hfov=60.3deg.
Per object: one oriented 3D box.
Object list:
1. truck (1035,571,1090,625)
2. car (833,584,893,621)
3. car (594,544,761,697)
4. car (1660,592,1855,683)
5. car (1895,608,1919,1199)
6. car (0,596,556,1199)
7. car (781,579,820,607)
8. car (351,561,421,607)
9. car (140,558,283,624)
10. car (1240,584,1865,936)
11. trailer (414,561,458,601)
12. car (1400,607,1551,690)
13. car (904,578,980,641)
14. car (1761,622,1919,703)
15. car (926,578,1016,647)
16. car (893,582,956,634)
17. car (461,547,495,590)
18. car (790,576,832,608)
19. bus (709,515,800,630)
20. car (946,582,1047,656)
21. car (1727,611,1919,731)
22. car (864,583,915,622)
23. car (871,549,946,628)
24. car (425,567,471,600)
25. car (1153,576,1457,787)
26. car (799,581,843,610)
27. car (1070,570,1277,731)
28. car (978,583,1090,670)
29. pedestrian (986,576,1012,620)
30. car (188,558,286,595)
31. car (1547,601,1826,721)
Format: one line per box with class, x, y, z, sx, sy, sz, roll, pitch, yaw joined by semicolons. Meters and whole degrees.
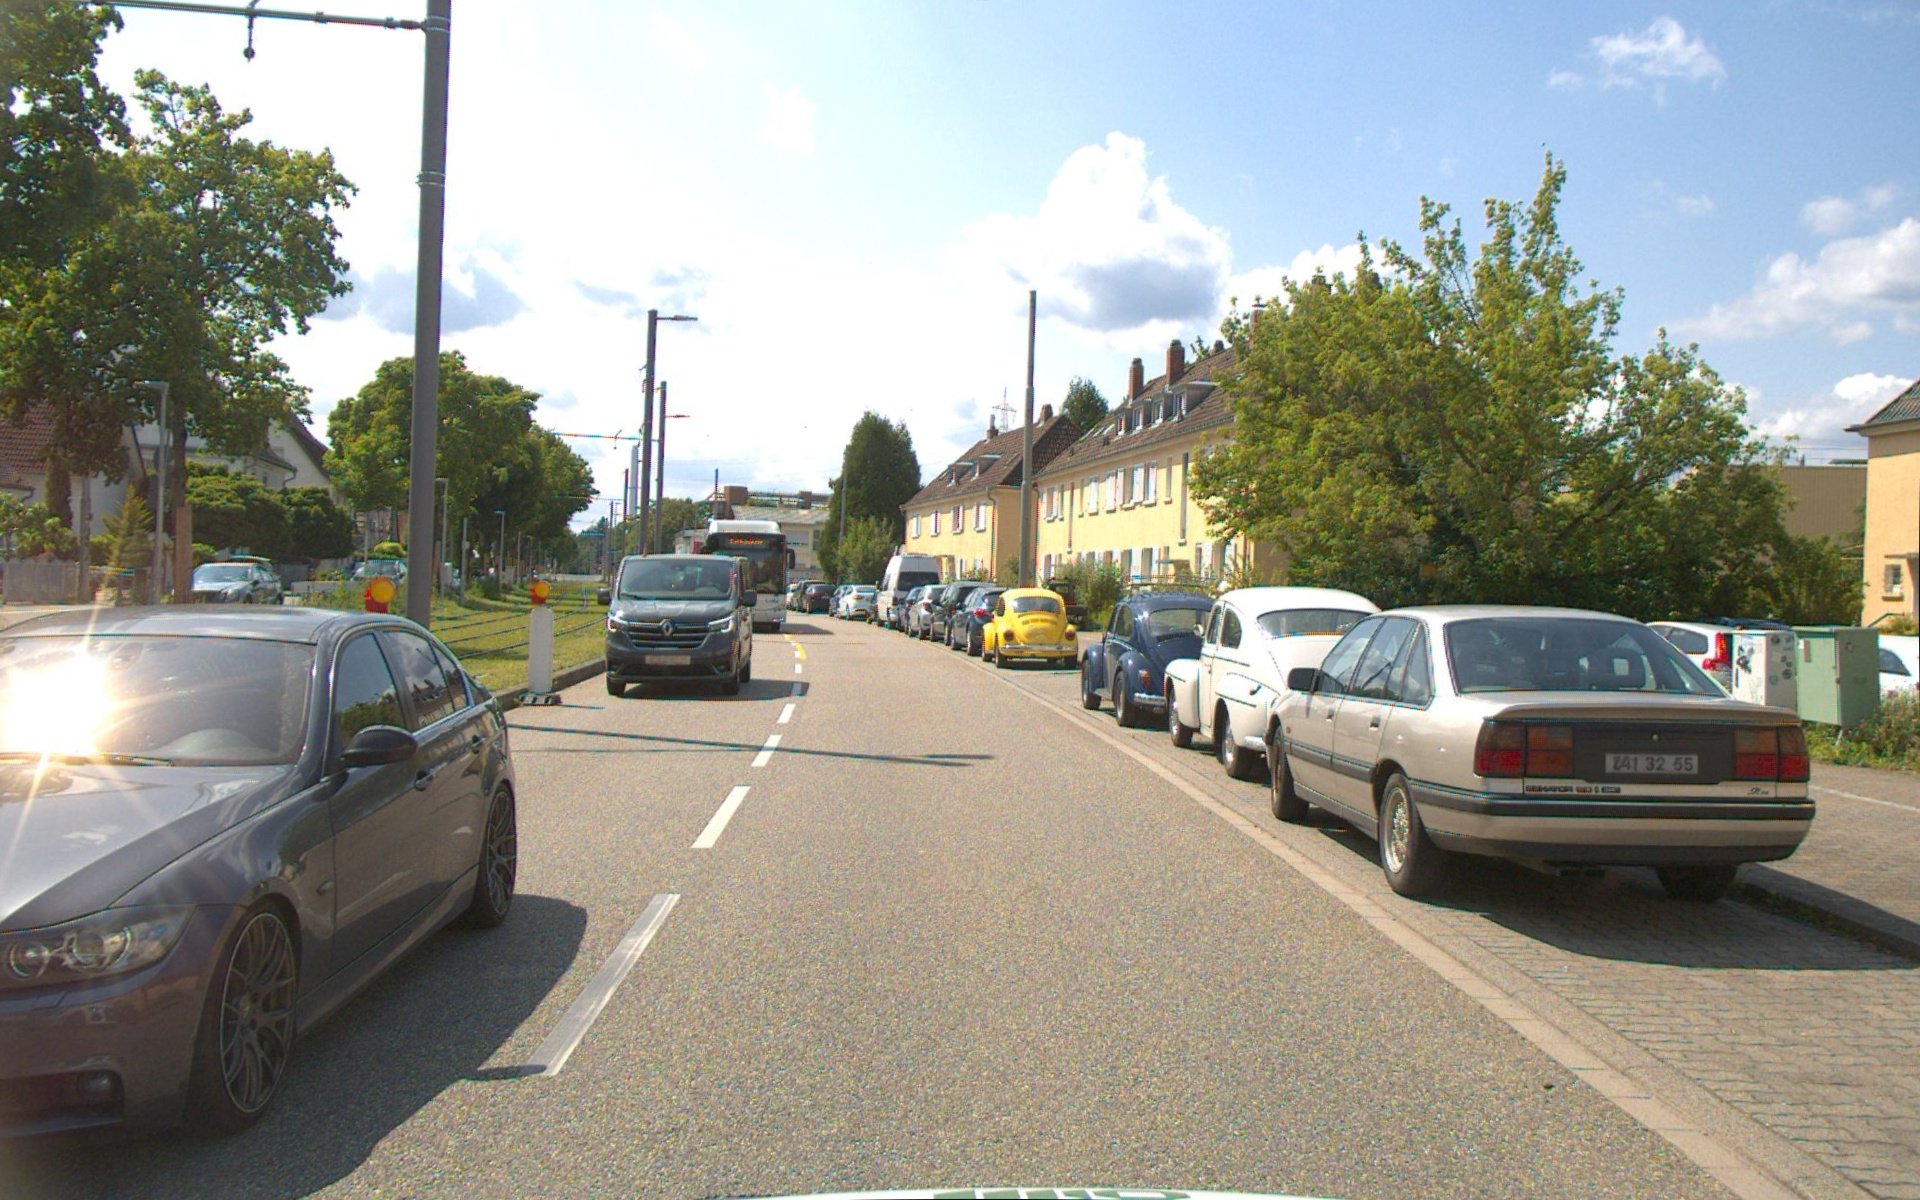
truck;3.402;-0.074;55.228;1.321;1.718;2.436;2;0;-8
car;-4.113;0.087;69.370;1.768;1.483;4.749;0;0;-13
car;-4.092;0.250;24.741;1.917;2.000;5.288;1;1;-4
car;15.313;0.662;32.011;1.604;1.574;4.085;-1;1;-4
car;3.231;0.804;1.958;1.546;1.474;4.451;2;0;-3
car;-2.717;0.729;5.783;1.690;1.413;4.120;2;0;-2
car;-9.037;-0.399;93.288;1.733;1.502;3.988;0;1;-12
car;-20.833;-0.596;60.180;1.779;1.614;4.555;0;1;-11
car;-18.108;-0.226;40.232;1.785;1.430;4.805;2;0;-7
car;2.979;0.675;9.570;1.672;1.474;4.833;2;0;-3
trailer;-23.748;-0.859;75.024;1.538;1.707;3.362;2;0;-12
car;9.697;0.863;31.400;1.602;1.379;4.088;2;0;1
car;-0.545;0.228;46.857;1.605;1.630;4.022;2;0;-8
car;17.852;1.212;32.912;1.604;1.425;4.085;2;0;-4
car;0.237;0.281;42.855;1.606;1.630;3.923;2;0;-10
car;-1.146;0.224;51.553;1.507;1.470;3.731;2;0;-8
car;-31.934;-2.096;109.621;2.040;2.768;6.971;0;1;-16
car;-8.005;-0.427;88.497;1.733;1.672;3.988;0;1;-12
bus;-7.112;-0.911;56.066;2.588;3.472;12.222;0;1;-9
car;0.765;0.383;37.449;1.605;1.508;4.117;2;0;-8
car;12.377;0.910;22.495;1.605;1.398;4.082;2;0;-7
car;-2.650;0.096;61.677;1.318;1.364;3.277;2;0;-13
car;-1.824;-0.404;56.864;1.894;2.524;5.506;1;0;-9
car;-24.990;-0.812;80.799;1.698;1.531;4.555;0;1;-11
car;2.860;0.594;14.665;1.546;1.539;4.457;2;0;-3
car;-7.025;-0.239;83.429;1.733;1.442;3.988;0;1;-12
car;2.424;0.519;19.786;1.519;1.669;4.242;2;0;-5
car;1.366;0.461;31.979;1.604;1.508;3.927;-1;1;-6
pedestrian;1.519;-0.080;64.488;0.837;1.680;0.636;2;0;-8
car;-33.706;-1.112;77.184;3.921;1.598;1.787;1;0;-15
car;9.718;0.762;22.492;1.605;1.398;4.082;2;0;-7
